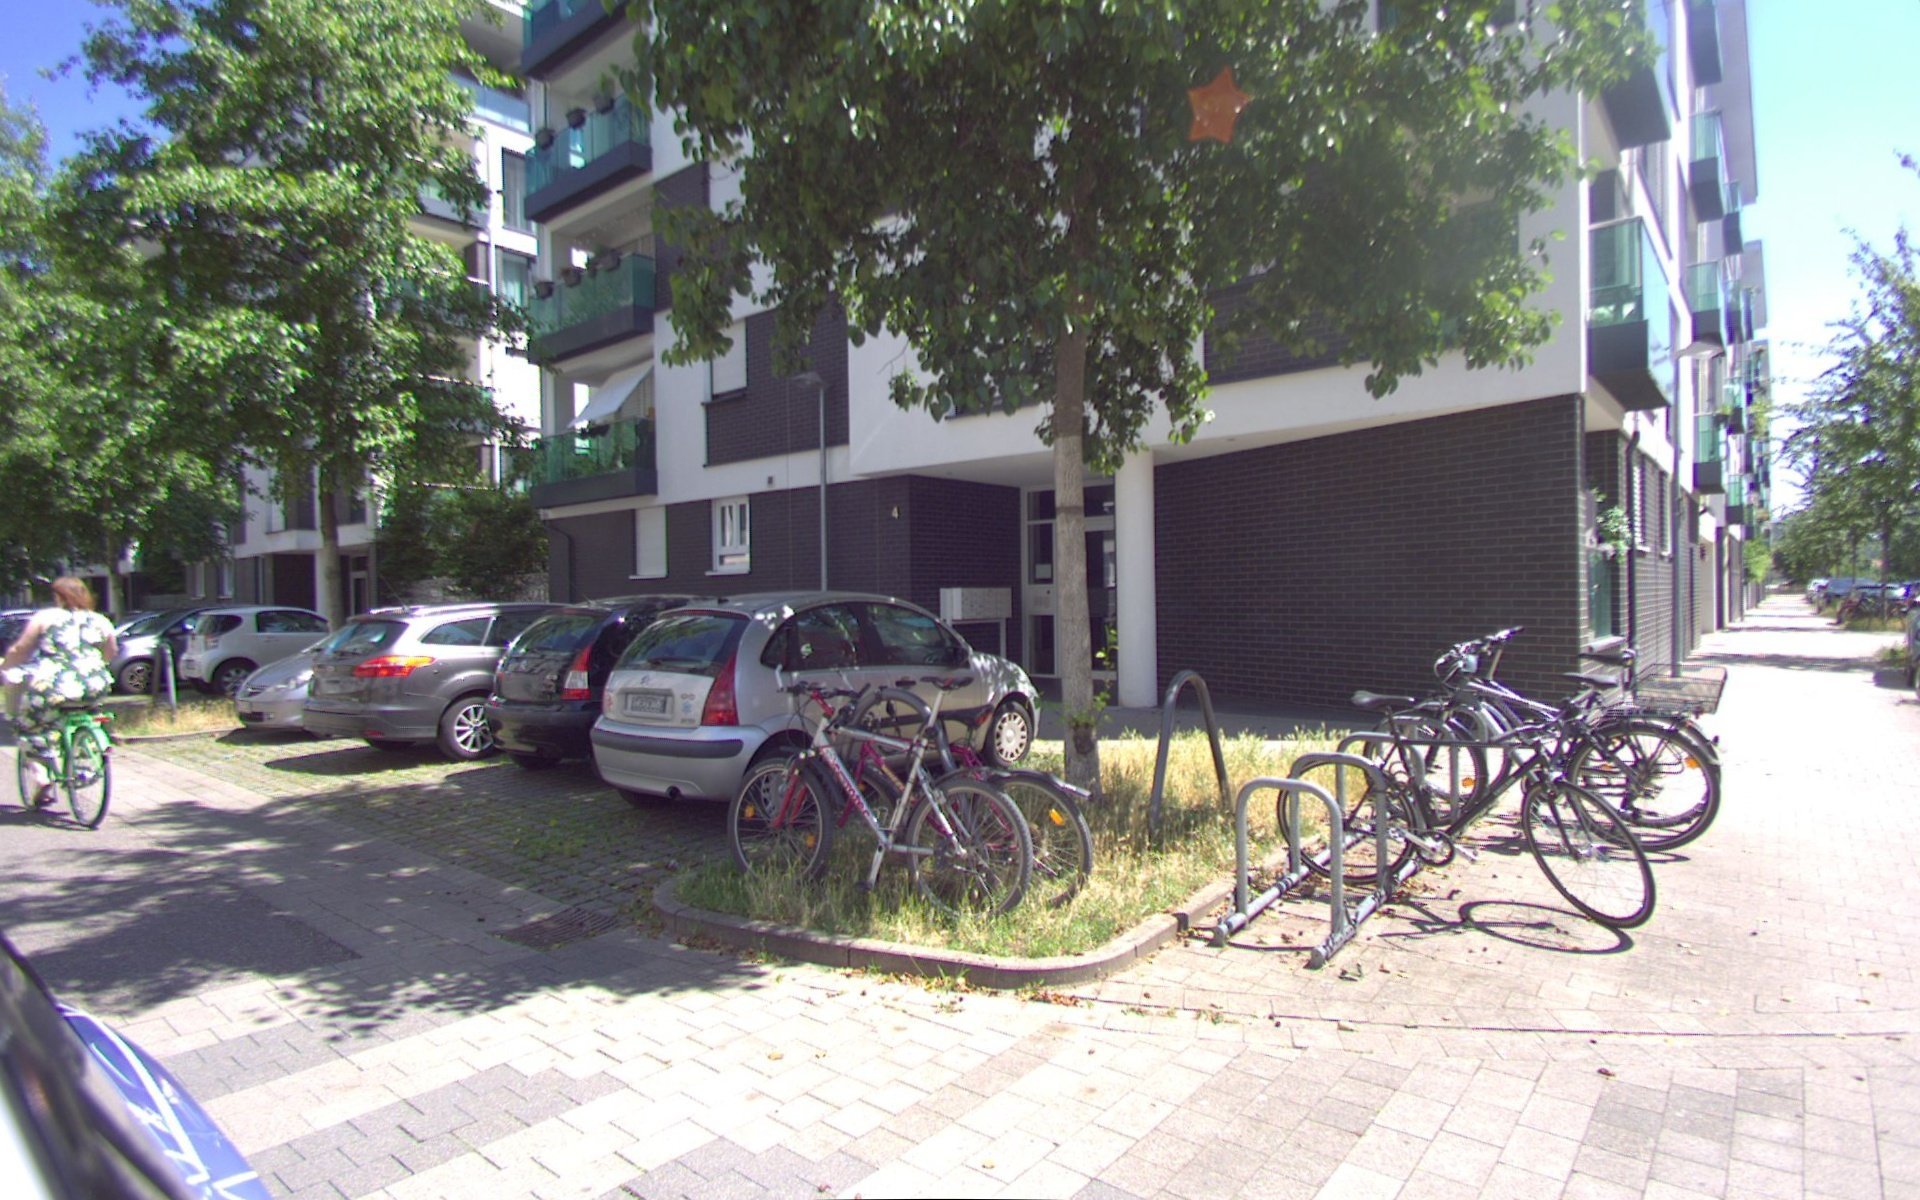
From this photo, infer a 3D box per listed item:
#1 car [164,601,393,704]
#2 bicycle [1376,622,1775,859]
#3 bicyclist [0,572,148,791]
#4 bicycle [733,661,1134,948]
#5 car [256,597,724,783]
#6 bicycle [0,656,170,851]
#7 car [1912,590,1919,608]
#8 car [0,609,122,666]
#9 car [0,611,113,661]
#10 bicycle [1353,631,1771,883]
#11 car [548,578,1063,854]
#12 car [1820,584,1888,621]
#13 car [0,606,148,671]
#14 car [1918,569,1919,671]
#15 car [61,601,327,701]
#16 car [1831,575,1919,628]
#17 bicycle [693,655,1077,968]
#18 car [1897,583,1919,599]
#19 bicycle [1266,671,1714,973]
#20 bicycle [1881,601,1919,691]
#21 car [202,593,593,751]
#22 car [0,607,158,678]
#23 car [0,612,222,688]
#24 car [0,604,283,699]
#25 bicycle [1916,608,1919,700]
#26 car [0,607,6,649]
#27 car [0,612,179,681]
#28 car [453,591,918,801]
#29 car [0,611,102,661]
[{"bbox_3d":[-12.016,0.856,17.940,1.846,1.511,2.905,-1,2,38],"label":"car"},{"bbox_3d":[3.608,0.732,6.055,1.922,1.182,0.740,-1,-1,42],"label":"bicycle"},{"bbox_3d":[-6.561,0.549,7.306,0.799,1.470,0.944,-1,-1,39],"label":"bicyclist"},{"bbox_3d":[-0.183,0.887,4.859,1.969,1.136,0.431,-1,-1,28],"label":"bicycle"},{"bbox_3d":[-4.802,0.761,10.894,1.955,1.497,4.143,0,2,36],"label":"car"},{"bbox_3d":[-6.530,1.014,7.303,2.038,1.137,0.889,-1,-1,39],"label":"bicycle"},{"bbox_3d":[80.716,-0.104,84.089,1.998,1.519,3.948,-1,0,39],"label":"car"},{"bbox_3d":[-29.420,1.197,32.190,1.882,1.603,3.947,-1,1,40],"label":"car"},{"bbox_3d":[-31.340,1.234,33.883,1.791,1.487,4.274,-1,1,39],"label":"car"},{"bbox_3d":[3.180,0.752,5.497,1.834,1.144,0.703,-1,-1,34],"label":"bicycle"},{"bbox_3d":[-0.987,0.650,7.799,1.830,1.532,3.594,-1,1,40],"label":"car"},{"bbox_3d":[38.679,0.111,43.879,1.998,1.519,3.948,-1,0,39],"label":"car"},{"bbox_3d":[-25.861,1.075,28.798,1.931,1.641,3.947,-1,1,40],"label":"car"},{"bbox_3d":[14.442,0.324,13.792,1.973,1.527,3.742,-1,0,43],"label":"car"},{"bbox_3d":[-14.626,0.892,19.493,1.816,1.597,3.677,-1,1,34],"label":"car"},{"bbox_3d":[28.425,0.040,31.346,1.998,1.519,3.948,-1,0,39],"label":"car"},{"bbox_3d":[-0.391,0.859,4.566,1.812,1.189,0.368,-1,-1,28],"label":"bicycle"},{"bbox_3d":[92.347,-0.877,98.008,1.998,1.519,3.948,-1,0,39],"label":"car"},{"bbox_3d":[2.277,0.876,4.499,1.677,0.998,0.527,0,2,42],"label":"bicycle"},{"bbox_3d":[12.666,0.554,12.187,0.800,1.100,2.275,0,-1,-45],"label":"bicycle"},{"bbox_3d":[-6.953,0.772,12.834,1.870,1.565,3.899,-1,1,39],"label":"car"},{"bbox_3d":[-24.089,1.104,26.980,1.917,1.663,3.945,-1,1,41],"label":"car"},{"bbox_3d":[-20.047,1.108,23.834,1.896,1.433,3.946,-2,1,41],"label":"car"},{"bbox_3d":[-16.721,1.002,20.743,1.997,1.723,4.319,-1,-2,37],"label":"car"},{"bbox_3d":[11.720,0.597,10.704,2.224,1.043,0.703,-1,-1,33],"label":"bicycle"},{"bbox_3d":[-50.188,1.427,49.265,2.186,2.126,5.286,-1,-1,41],"label":"car"},{"bbox_3d":[-22.140,1.106,25.188,1.772,1.456,3.939,-1,1,36],"label":"car"},{"bbox_3d":[-2.416,0.732,9.634,1.799,1.566,3.945,-1,-1,42],"label":"car"},{"bbox_3d":[-33.127,1.288,35.557,1.923,1.529,4.211,-1,2,39],"label":"car"}]
